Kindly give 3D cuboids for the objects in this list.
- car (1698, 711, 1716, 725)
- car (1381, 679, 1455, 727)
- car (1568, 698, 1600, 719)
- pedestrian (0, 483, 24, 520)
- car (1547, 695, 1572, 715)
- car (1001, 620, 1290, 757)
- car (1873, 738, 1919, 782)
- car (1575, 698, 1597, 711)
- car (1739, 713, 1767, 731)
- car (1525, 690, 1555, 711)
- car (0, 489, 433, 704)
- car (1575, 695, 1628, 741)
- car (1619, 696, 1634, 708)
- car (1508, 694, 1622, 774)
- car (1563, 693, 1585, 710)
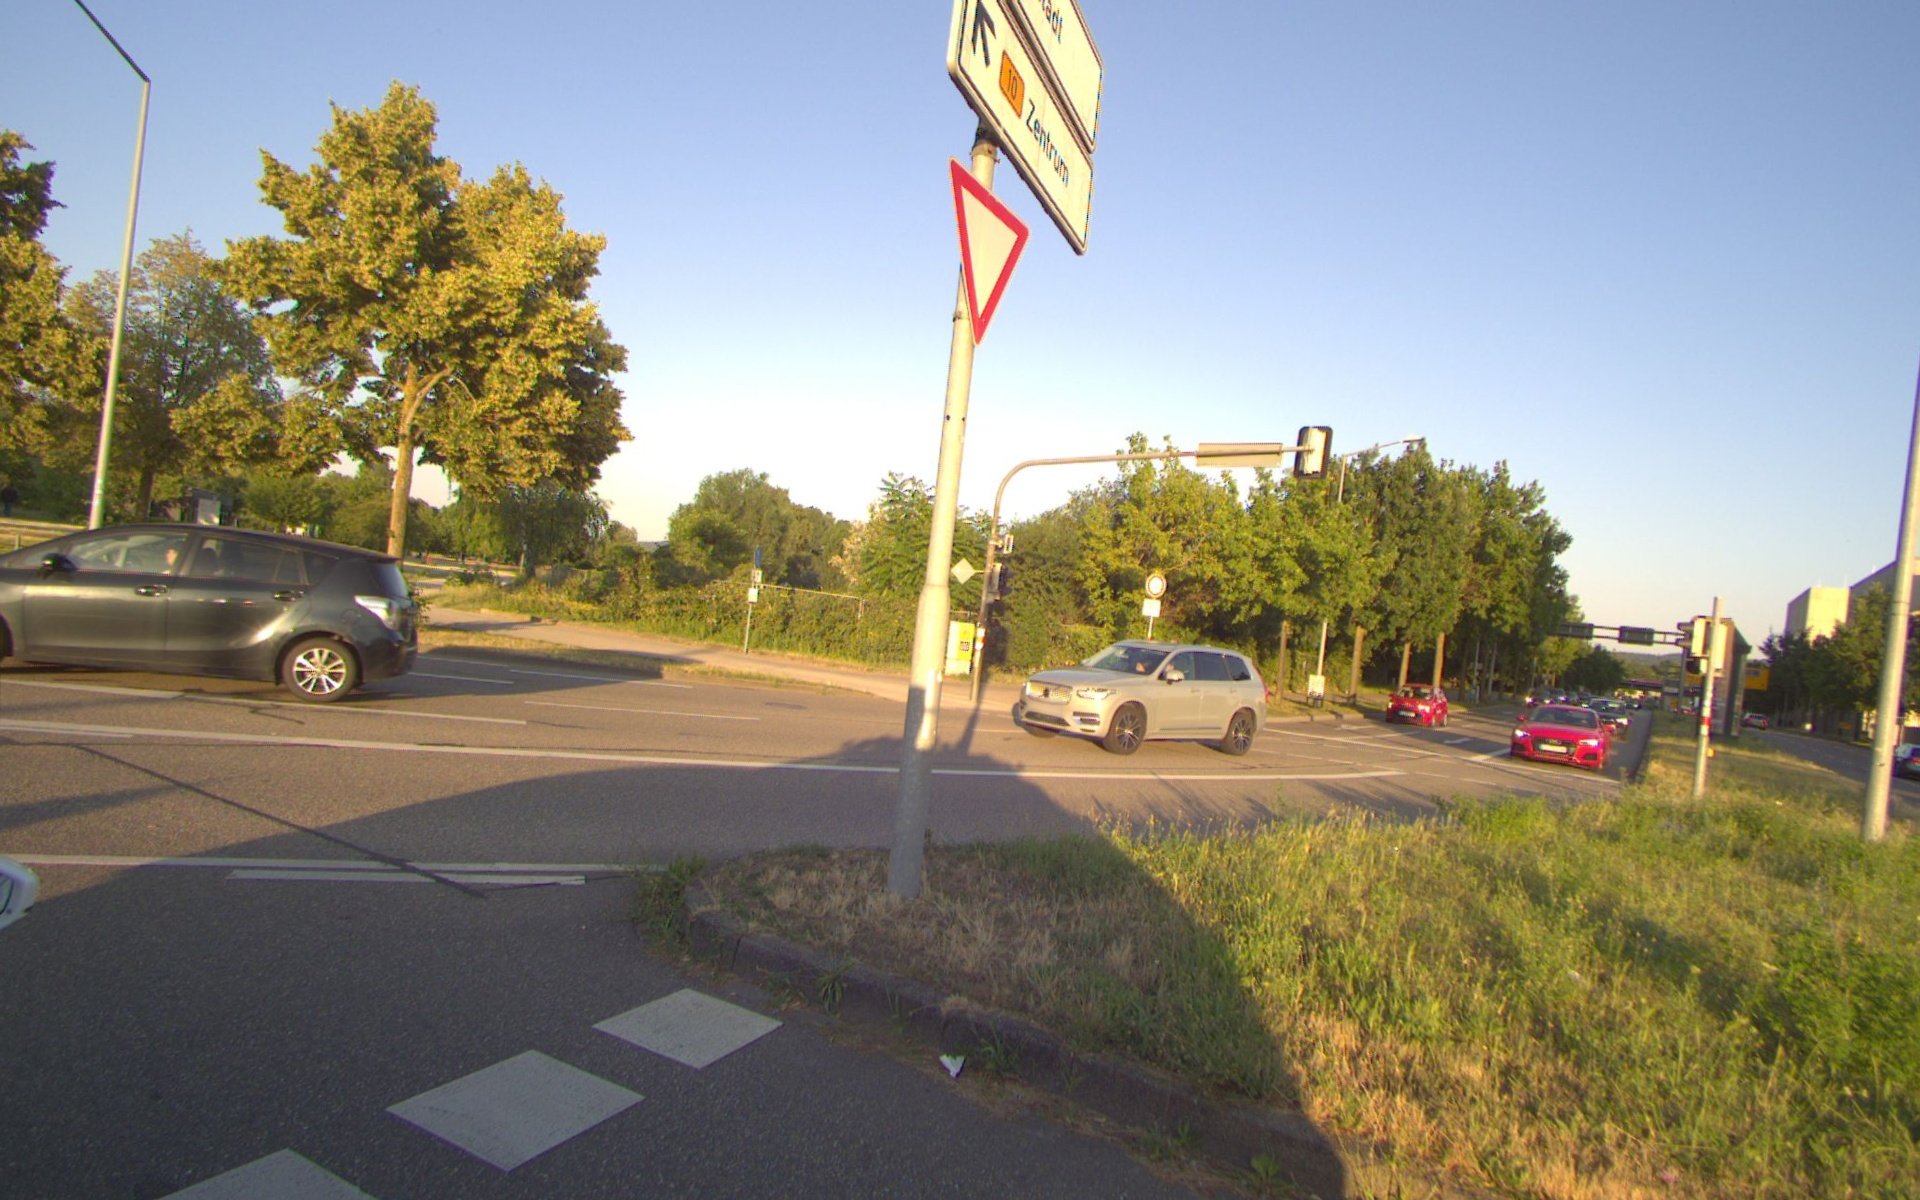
[{"bbox_3d":[102.439,16.155,138.022,1.790,1.543,4.121,7,0,36],"label":"car"},{"bbox_3d":[16.903,3.807,37.046,1.700,1.500,3.623,5,-2,36],"label":"car"},{"bbox_3d":[49.001,8.511,78.983,1.847,1.324,4.128,5,-2,35],"label":"car"},{"bbox_3d":[-45.386,-4.692,48.120,0.522,1.646,0.618,7,0,-15],"label":"pedestrian"},{"bbox_3d":[53.605,9.362,89.911,1.594,1.536,3.707,5,-2,35],"label":"car"},{"bbox_3d":[3.166,1.505,16.491,4.887,1.775,1.901,8,-2,-41],"label":"car"},{"bbox_3d":[38.310,6.471,40.327,1.774,1.440,4.437,7,0,34],"label":"car"},{"bbox_3d":[73.977,12.371,118.863,1.847,1.324,4.128,5,-2,35],"label":"car"},{"bbox_3d":[76.883,11.827,97.533,1.727,1.441,4.114,7,0,42],"label":"car"},{"bbox_3d":[45.149,7.834,78.277,1.594,1.324,3.707,5,-2,35],"label":"car"},{"bbox_3d":[-7.930,-0.045,10.124,4.400,1.652,1.793,8,-1,-25],"label":"car"},{"bbox_3d":[27.520,5.039,43.087,1.695,1.631,4.127,5,-2,34],"label":"car"},{"bbox_3d":[96.965,14.885,146.394,1.594,1.471,3.707,5,-2,35],"label":"car"},{"bbox_3d":[14.613,3.181,24.192,1.817,1.477,4.568,7,-1,36],"label":"car"},{"bbox_3d":[63.042,10.426,103.219,1.594,1.536,3.707,5,-2,35],"label":"car"}]
